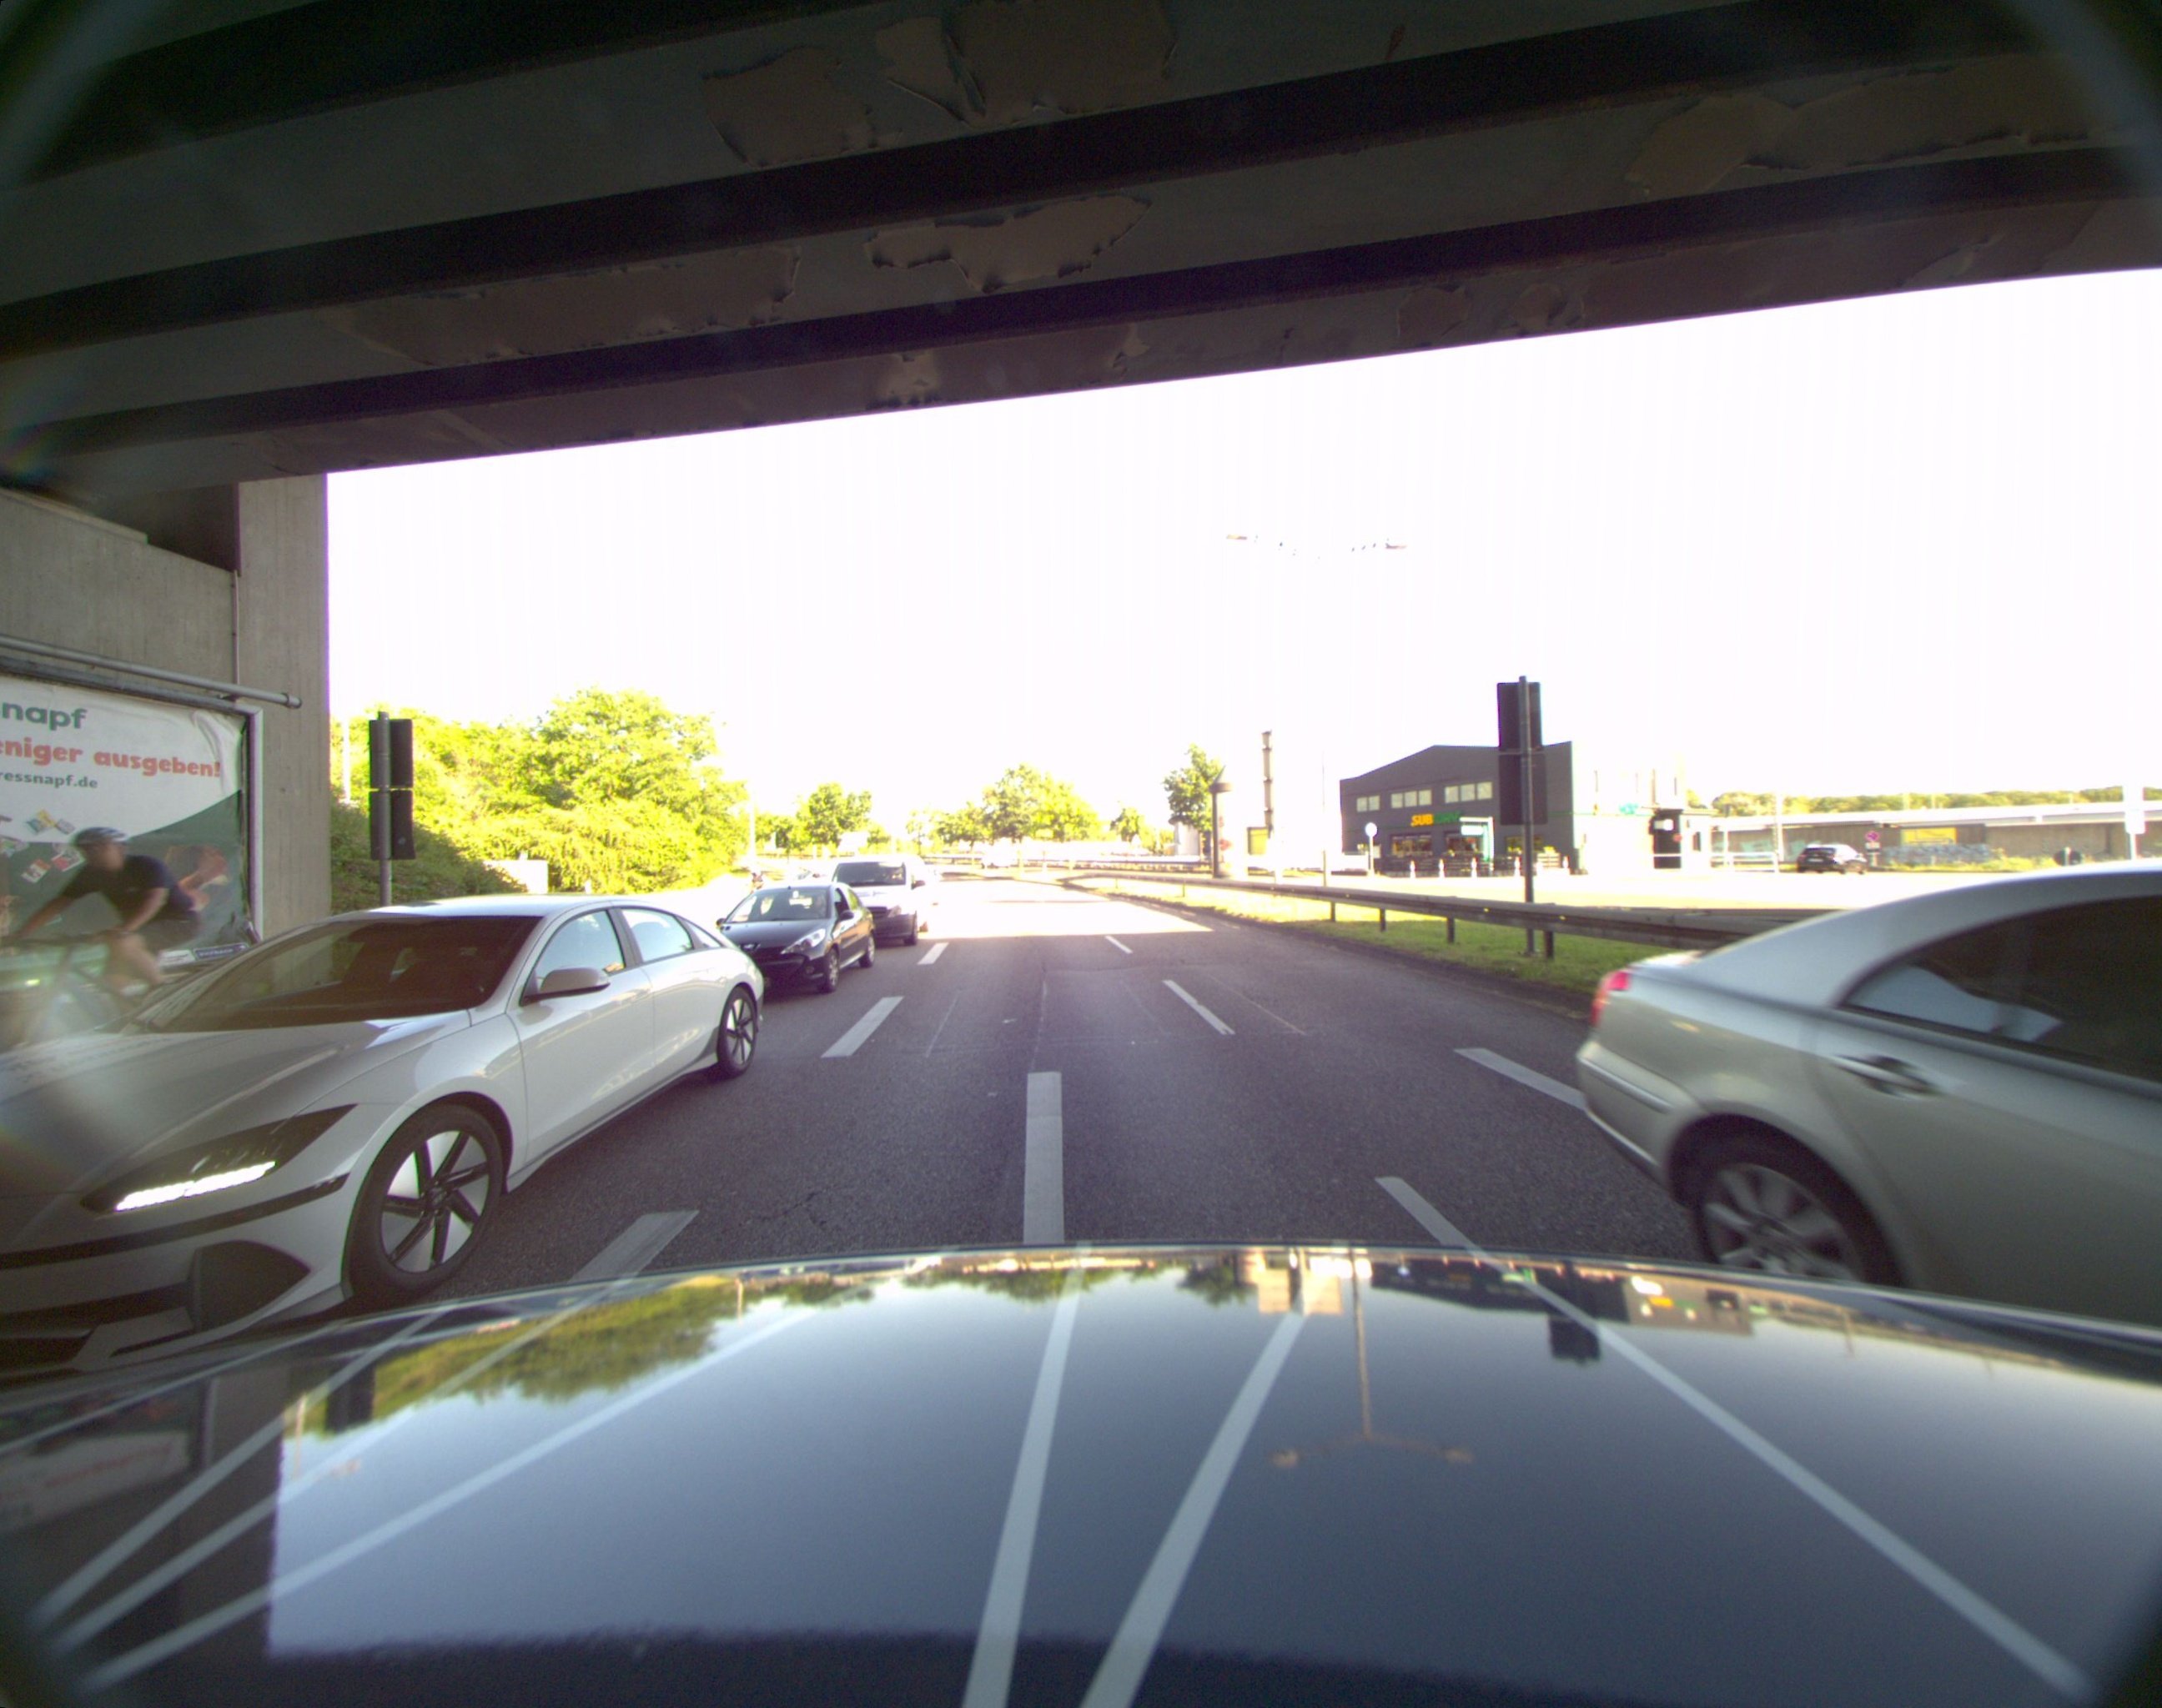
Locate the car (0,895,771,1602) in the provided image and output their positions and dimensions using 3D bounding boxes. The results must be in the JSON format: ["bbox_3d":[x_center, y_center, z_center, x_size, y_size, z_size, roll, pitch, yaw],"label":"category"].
[{"bbox_3d":[-3.417,1.103,4.103,1.750,1.447,4.662,-2,0,-3],"label":"car"}]

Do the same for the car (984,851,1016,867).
[{"bbox_3d":[-8.612,0.556,80.702,1.809,1.597,4.286,-2,0,-28],"label":"car"}]

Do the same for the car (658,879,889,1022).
[{"bbox_3d":[-4.001,1.173,10.606,1.750,1.447,3.716,-2,0,-2],"label":"car"}]

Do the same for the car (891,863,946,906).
[{"bbox_3d":[-6.687,1.203,31.695,2.000,1.542,4.417,-2,0,-9],"label":"car"}]

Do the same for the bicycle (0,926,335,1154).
[{"bbox_3d":[-6.641,1.171,5.139,0.767,1.139,2.469,0,0,0],"label":"bicycle"}]

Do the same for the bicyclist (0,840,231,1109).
[{"bbox_3d":[-6.638,0.746,5.108,0.748,1.646,0.886,-2,1,0],"label":"bicyclist"}]

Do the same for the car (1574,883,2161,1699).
[{"bbox_3d":[2.952,0.867,0.822,1.701,1.446,4.396,-2,0,-5],"label":"car"}]

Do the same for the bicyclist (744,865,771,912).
[{"bbox_3d":[-10.693,1.126,25.131,0.655,1.524,0.846,1,-1,-14],"label":"bicyclist"}]

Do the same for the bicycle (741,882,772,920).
[{"bbox_3d":[-10.673,1.528,25.031,0.653,1.160,1.776,1,-1,-14],"label":"bicycle"}]

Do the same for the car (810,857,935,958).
[{"bbox_3d":[-4.400,1.020,16.791,1.903,1.825,4.832,-2,0,-7],"label":"car"}]

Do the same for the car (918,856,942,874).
[{"bbox_3d":[-14.059,1.035,70.752,1.739,1.396,3.863,-3,3,-17],"label":"car"}]

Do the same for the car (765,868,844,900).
[{"bbox_3d":[-16.408,1.729,45.357,1.816,1.587,4.541,-2,1,20],"label":"car"}]

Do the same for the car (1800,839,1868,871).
[{"bbox_3d":[38.519,0.035,38.829,4.007,1.434,1.878,-3,1,-37],"label":"car"}]
